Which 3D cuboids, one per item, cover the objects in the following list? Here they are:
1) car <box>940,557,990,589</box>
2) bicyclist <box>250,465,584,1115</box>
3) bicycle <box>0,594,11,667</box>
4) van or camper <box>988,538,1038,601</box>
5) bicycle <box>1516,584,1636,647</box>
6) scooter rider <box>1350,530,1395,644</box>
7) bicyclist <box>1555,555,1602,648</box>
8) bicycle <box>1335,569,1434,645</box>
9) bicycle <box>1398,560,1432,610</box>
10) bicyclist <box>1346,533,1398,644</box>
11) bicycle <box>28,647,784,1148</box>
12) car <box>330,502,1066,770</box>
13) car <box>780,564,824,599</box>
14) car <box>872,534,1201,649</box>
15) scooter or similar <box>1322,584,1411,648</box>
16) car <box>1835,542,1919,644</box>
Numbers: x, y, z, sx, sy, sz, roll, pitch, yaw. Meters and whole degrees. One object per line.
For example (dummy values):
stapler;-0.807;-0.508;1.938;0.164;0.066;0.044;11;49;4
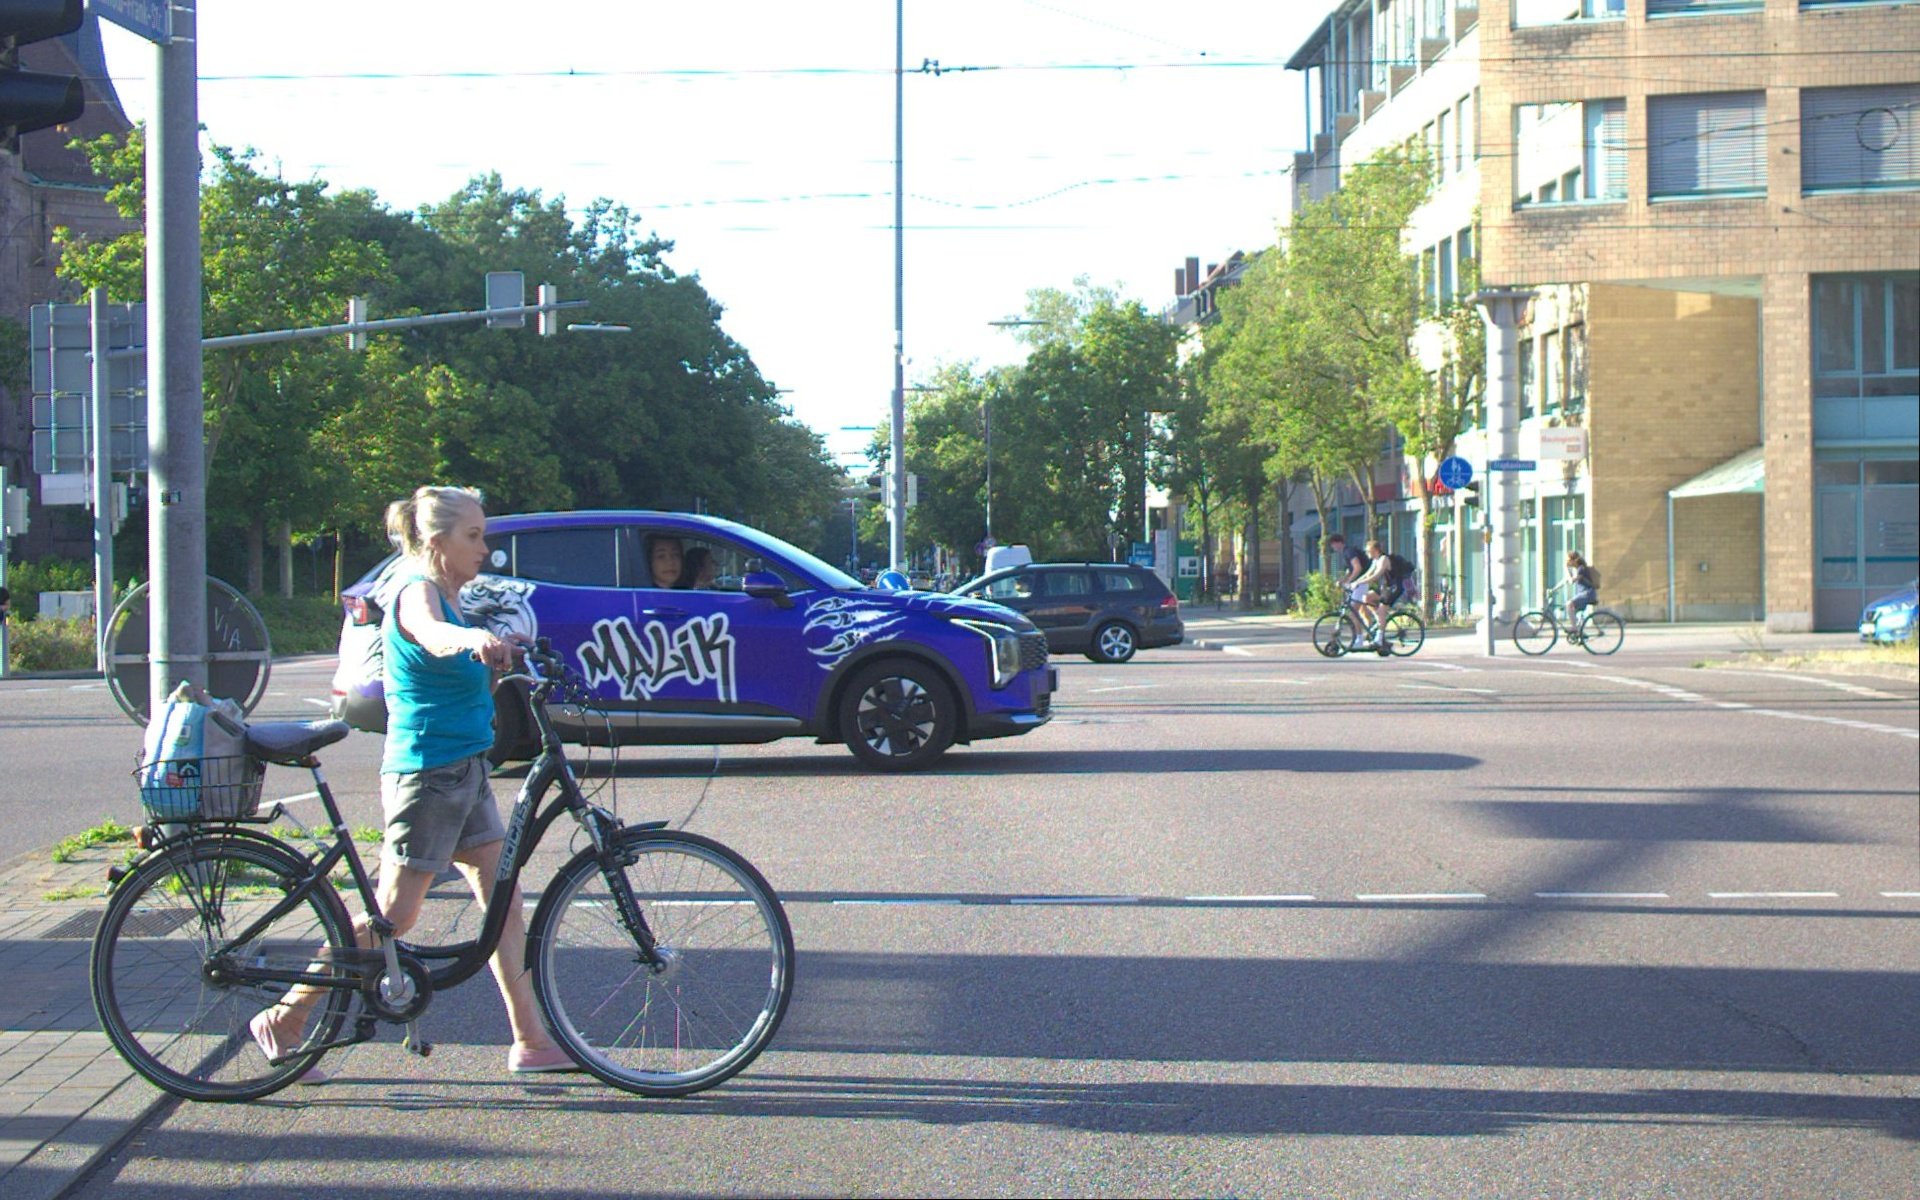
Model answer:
car;0.232;-1.357;171.509;1.993;1.587;4.001;-1;1;-7
bicyclist;-1.440;0.478;9.268;0.782;1.654;0.901;-1;1;-3
bicycle;-15.630;0.470;54.274;0.645;1.135;1.679;-1;1;-37
van or camper;2.233;-1.329;146.301;1.993;2.631;5.350;-1;1;0
bicycle;9.782;0.245;54.624;1.821;0.981;0.533;0;1;3
scooter rider;6.584;-0.205;54.889;0.680;1.808;0.475;-1;1;6
bicyclist;9.818;0.016;54.620;0.666;1.464;0.533;0;1;3
bicycle;6.662;0.115;53.998;1.520;1.168;0.475;-1;1;6
bicycle;11.169;-0.369;84.408;0.773;1.191;2.464;-1;1;6
bicyclist;6.467;-0.182;54.011;0.790;1.730;0.475;-1;1;6
bicycle;-1.376;0.733;8.815;1.827;1.184;0.734;-1;1;-2
car;-1.575;0.202;21.578;4.402;1.568;1.836;-1;1;0
car;-6.899;-0.809;150.143;1.780;1.444;4.000;0;1;-1
car;1.080;-0.140;50.360;4.646;1.592;2.000;-1;1;-4
scooter or similar;6.491;0.250;54.912;1.401;0.998;0.475;-1;1;6
car;15.564;-0.138;51.700;4.228;1.497;2.000;-1;1;-4
